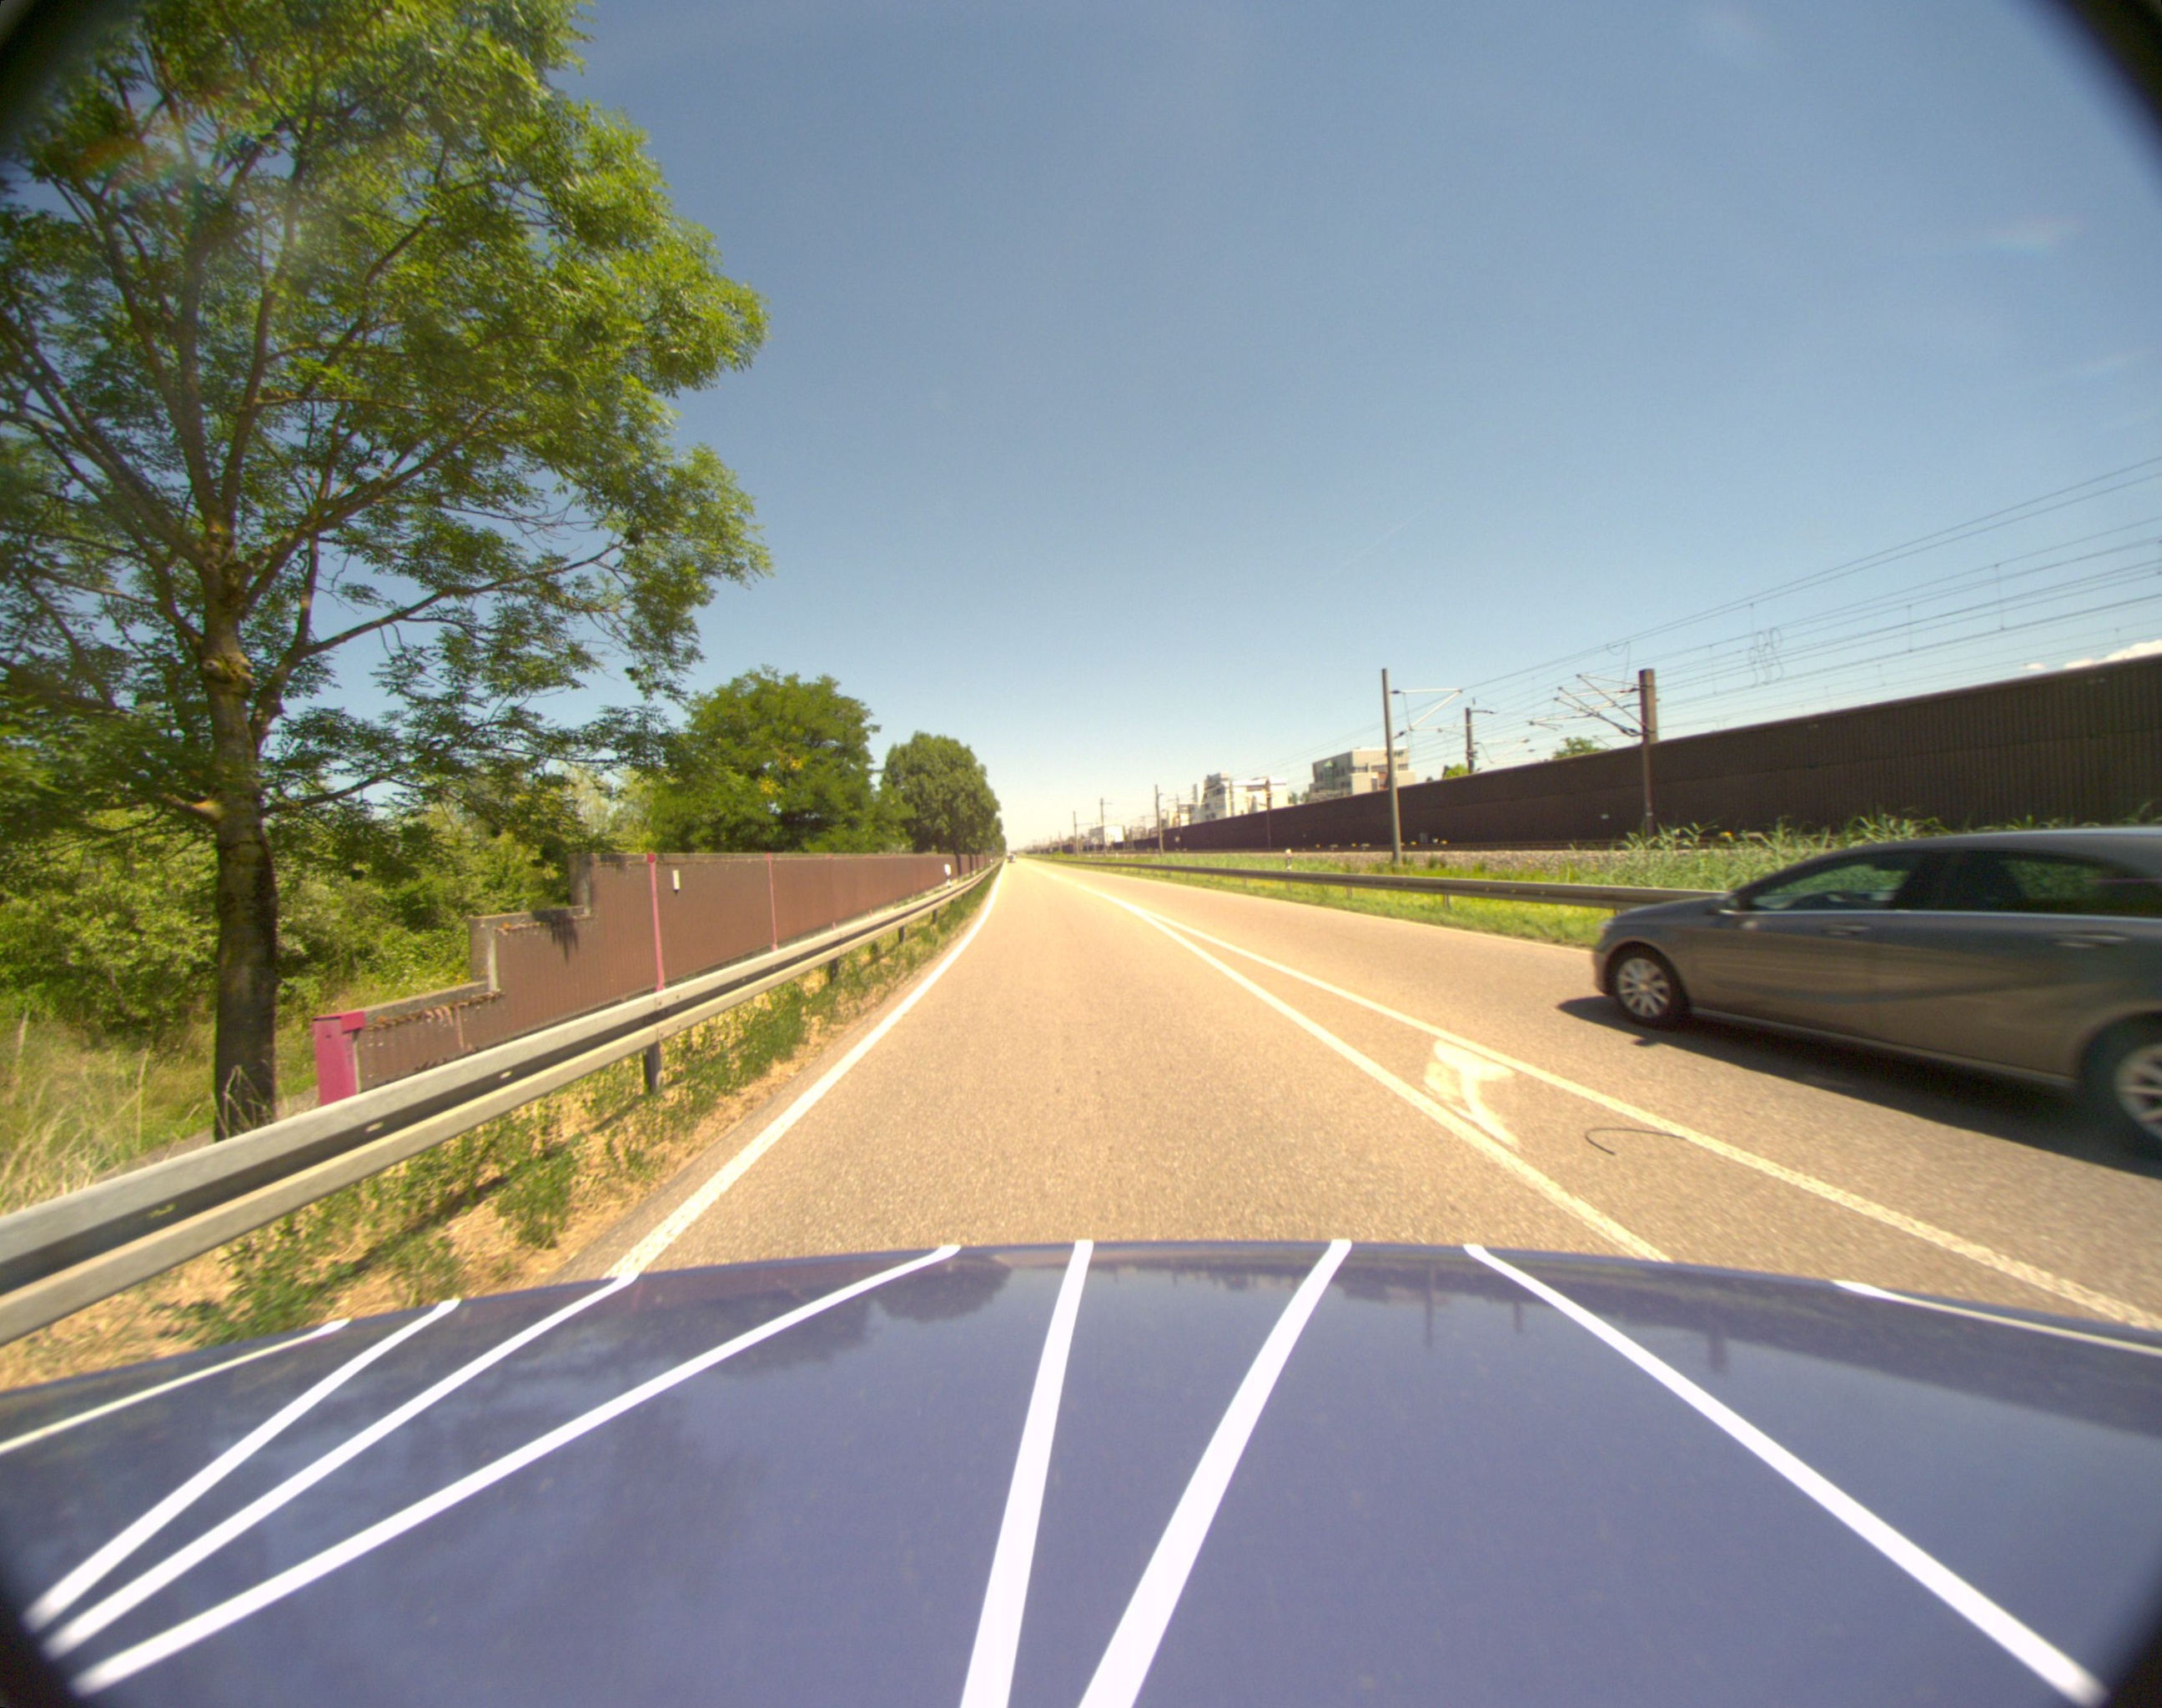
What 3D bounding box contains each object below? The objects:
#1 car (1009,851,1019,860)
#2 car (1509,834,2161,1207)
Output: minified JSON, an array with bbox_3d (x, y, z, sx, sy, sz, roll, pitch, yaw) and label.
[{"bbox_3d":[-15.244,0.250,174.184,1.999,2.002,3.999,-3,1,-2],"label":"car"},{"bbox_3d":[5.189,0.668,4.741,1.870,1.476,4.885,-3,1,-6],"label":"car"}]
